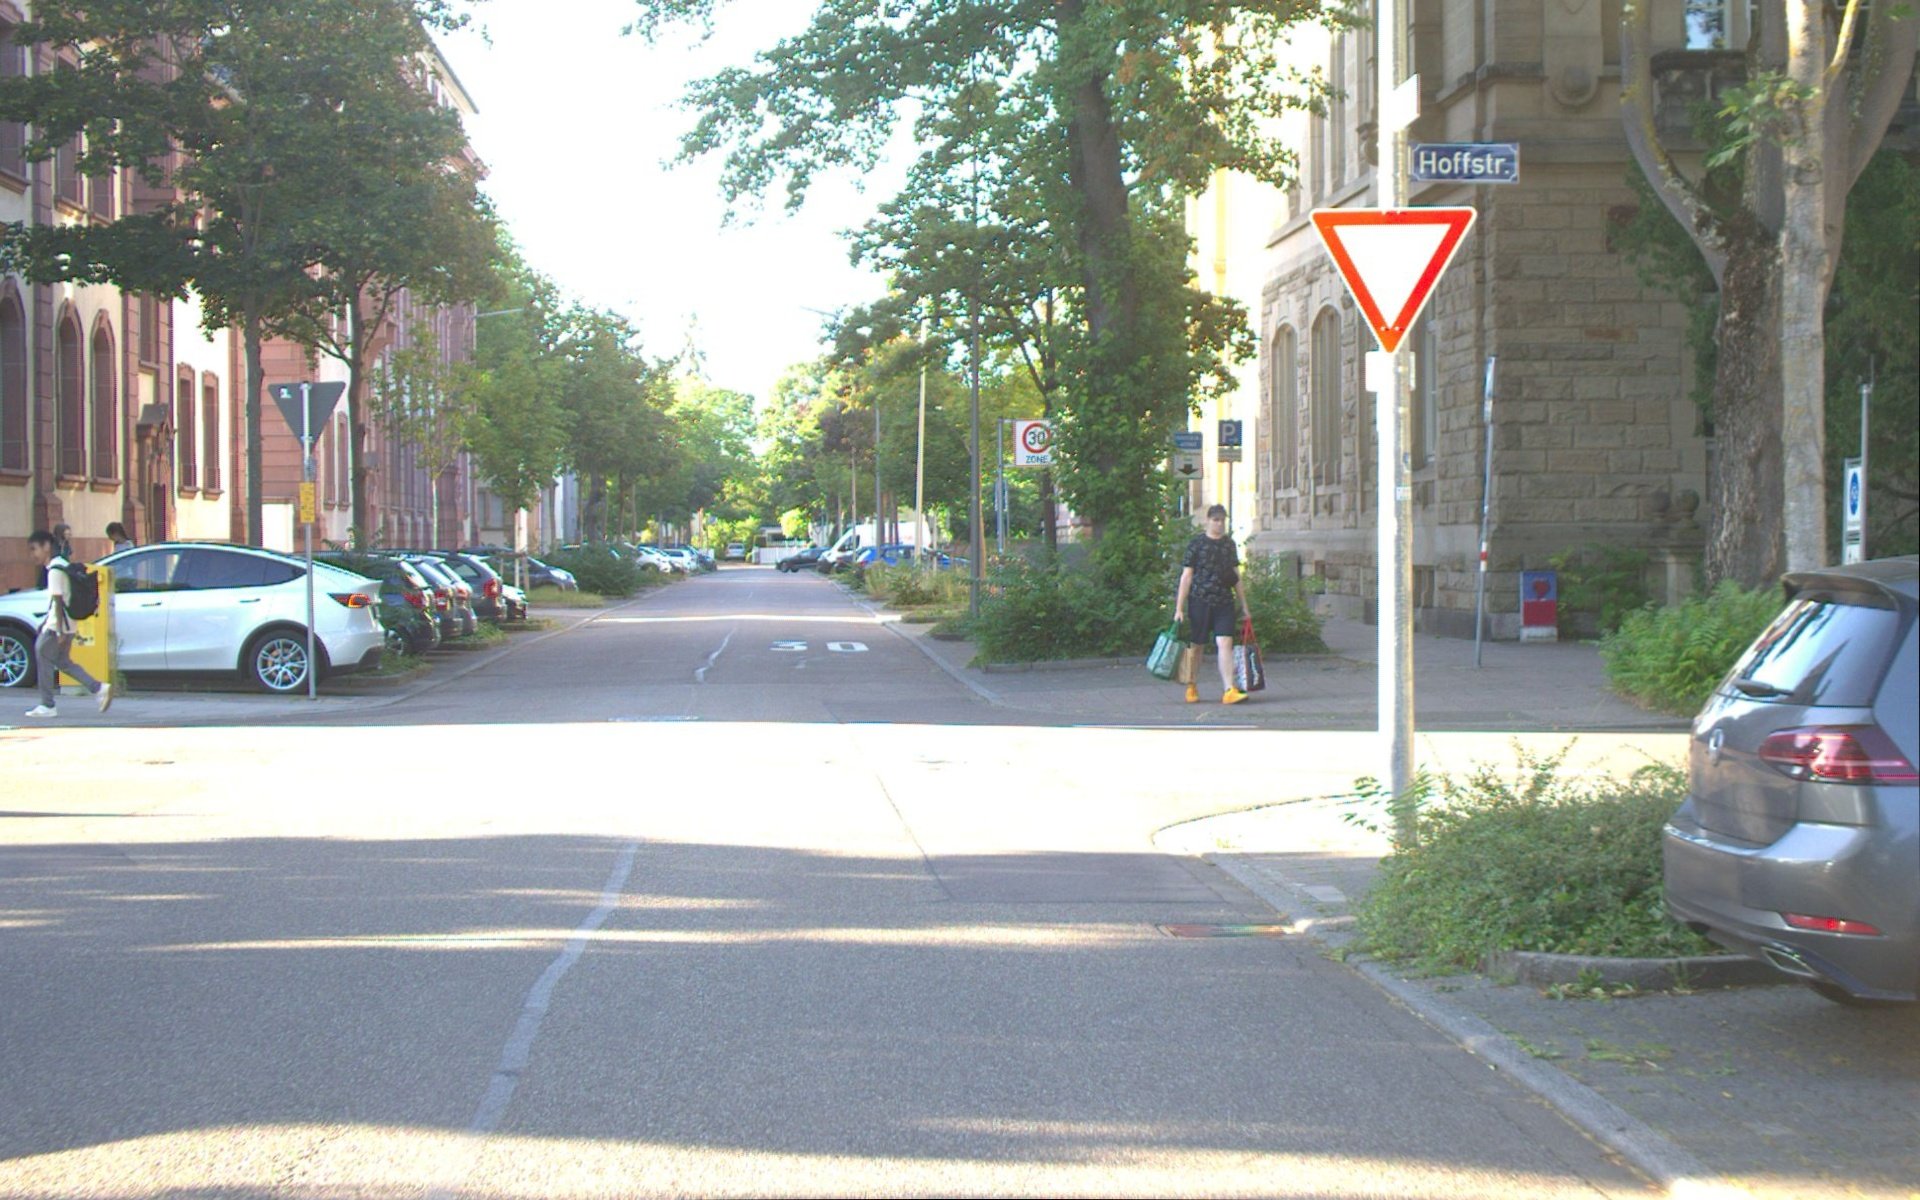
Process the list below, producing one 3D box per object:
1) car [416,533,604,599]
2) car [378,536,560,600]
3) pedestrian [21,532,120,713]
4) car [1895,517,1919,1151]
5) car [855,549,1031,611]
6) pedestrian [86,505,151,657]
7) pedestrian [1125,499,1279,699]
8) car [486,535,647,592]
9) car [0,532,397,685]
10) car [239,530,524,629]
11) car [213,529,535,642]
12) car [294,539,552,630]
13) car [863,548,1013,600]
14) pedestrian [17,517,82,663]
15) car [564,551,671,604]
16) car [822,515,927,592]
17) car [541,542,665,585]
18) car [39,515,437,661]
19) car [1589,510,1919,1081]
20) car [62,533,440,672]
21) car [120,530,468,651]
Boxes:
[{"bbox_3d":[-10.969,-0.832,84.064,4.482,1.602,1.842,0,1,-5],"label":"car"},{"bbox_3d":[-12.485,-0.827,87.654,4.482,1.602,1.842,0,1,-5],"label":"car"},{"bbox_3d":[-7.985,0.198,30.878,0.784,1.601,0.721,0,0,-8],"label":"pedestrian"},{"bbox_3d":[4.261,0.566,7.557,3.954,1.511,1.675,0,1,1],"label":"car"},{"bbox_3d":[-0.462,-0.533,89.947,4.482,1.602,1.842,0,1,-5],"label":"car"},{"bbox_3d":[-10.935,-0.244,44.706,0.784,1.955,0.721,0,0,-11],"label":"pedestrian"},{"bbox_3d":[2.287,-0.019,32.560,1.060,1.851,1.002,0,1,-34],"label":"pedestrian"},{"bbox_3d":[-11.155,-1.035,97.758,4.482,1.602,1.842,0,1,-5],"label":"car"},{"bbox_3d":[-8.546,0.071,36.757,4.841,1.588,1.842,0,1,-5],"label":"car"},{"bbox_3d":[-9.448,-0.342,56.418,4.482,1.602,1.842,0,1,-5],"label":"car"},{"bbox_3d":[-8.488,-0.217,50.083,4.482,1.602,1.842,0,1,-5],"label":"car"},{"bbox_3d":[-9.643,-0.284,62.026,4.482,1.602,1.842,0,1,-5],"label":"car"},{"bbox_3d":[-0.703,-0.829,107.505,4.582,1.602,1.842,0,1,-5],"label":"car"},{"bbox_3d":[-12.260,-0.132,46.289,0.718,1.955,0.787,0,0,-5],"label":"pedestrian"},{"bbox_3d":[-14.815,-0.974,149.056,4.582,2.256,1.842,0,1,-5],"label":"car"},{"bbox_3d":[-4.055,-2.208,162.875,4.885,3.605,1.842,0,1,-3],"label":"car"},{"bbox_3d":[-13.376,-1.370,129.095,4.582,1.602,1.842,0,1,-5],"label":"car"},{"bbox_3d":[-8.611,-0.164,41.300,4.482,1.711,1.842,0,1,-5],"label":"car"},{"bbox_3d":[4.027,0.516,10.125,3.954,1.511,1.874,-1,-1,-1],"label":"car"},{"bbox_3d":[-8.902,0.011,43.461,4.482,1.711,1.842,0,1,-5],"label":"car"},{"bbox_3d":[-9.013,-0.137,46.817,4.482,1.602,1.842,0,1,-5],"label":"car"}]
